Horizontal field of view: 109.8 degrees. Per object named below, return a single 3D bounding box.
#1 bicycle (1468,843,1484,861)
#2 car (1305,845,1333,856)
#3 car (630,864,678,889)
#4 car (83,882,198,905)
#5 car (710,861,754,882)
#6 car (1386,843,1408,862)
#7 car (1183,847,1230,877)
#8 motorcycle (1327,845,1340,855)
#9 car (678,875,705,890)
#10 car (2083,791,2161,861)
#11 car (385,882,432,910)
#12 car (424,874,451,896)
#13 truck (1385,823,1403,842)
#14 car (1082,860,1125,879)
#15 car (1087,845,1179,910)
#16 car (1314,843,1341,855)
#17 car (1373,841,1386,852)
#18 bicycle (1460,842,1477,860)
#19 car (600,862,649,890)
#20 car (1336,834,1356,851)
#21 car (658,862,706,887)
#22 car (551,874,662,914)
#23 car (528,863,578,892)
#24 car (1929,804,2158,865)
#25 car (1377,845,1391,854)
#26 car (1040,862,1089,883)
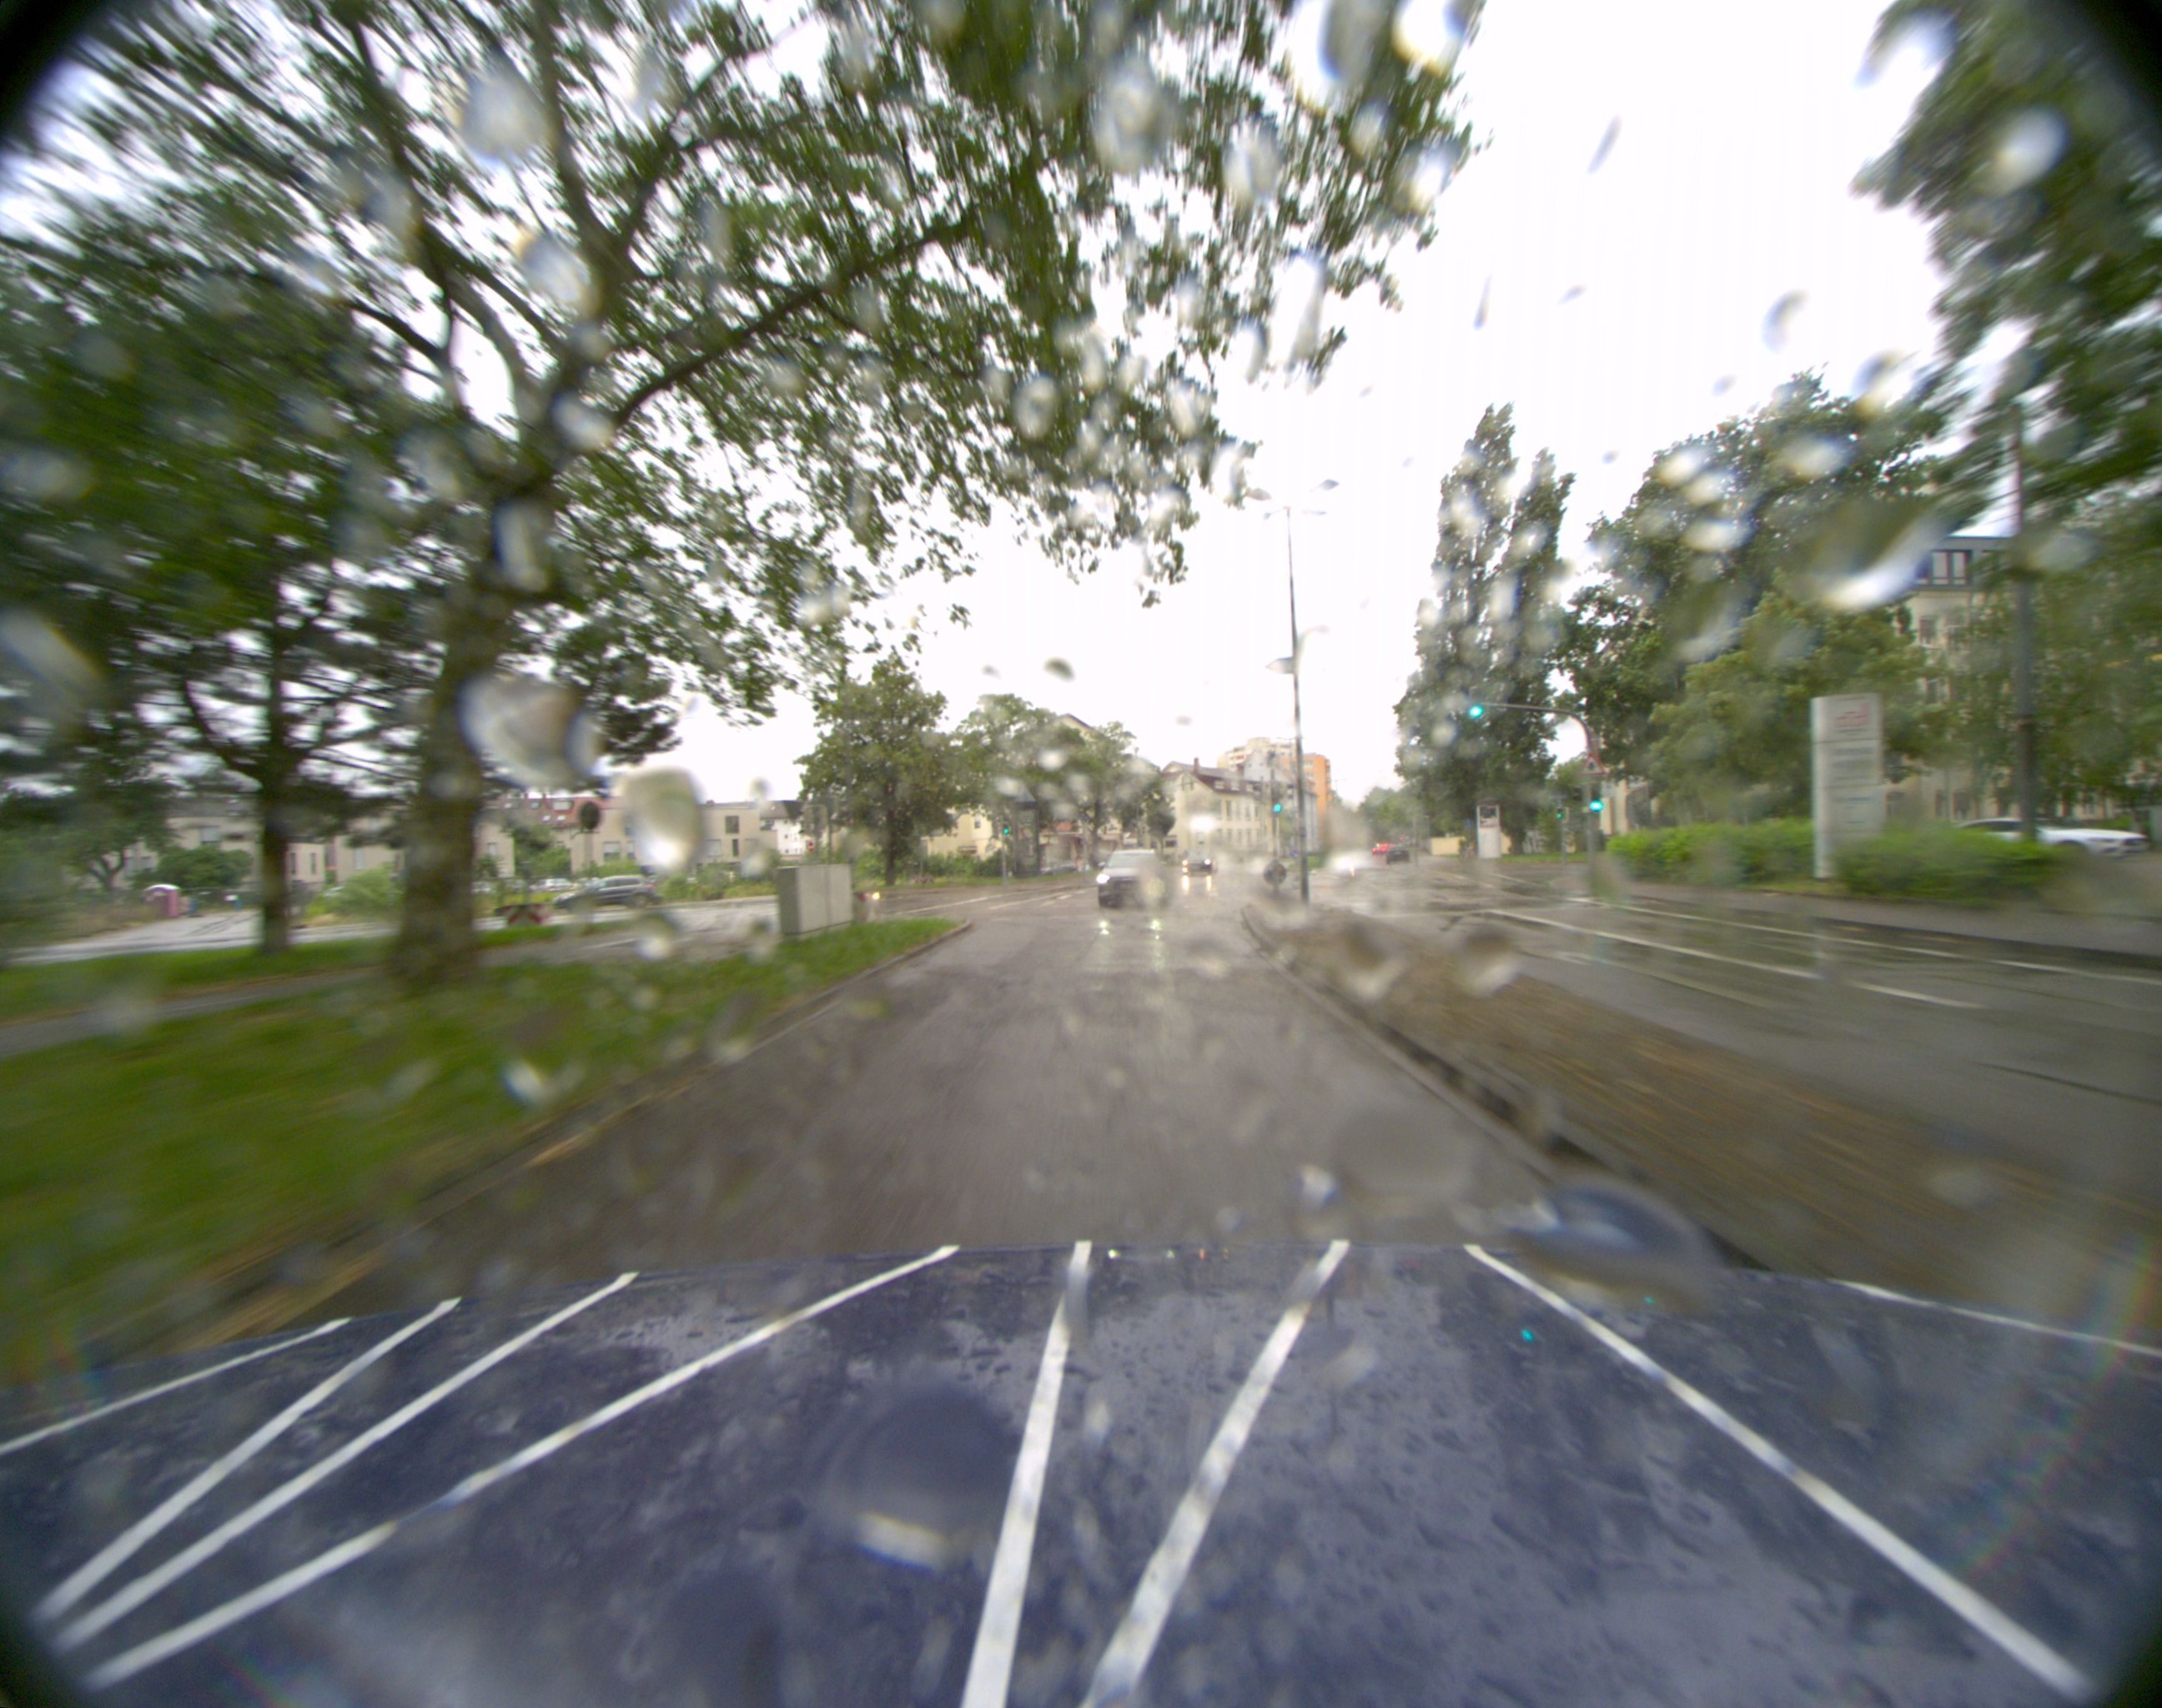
[{"bbox_3d":[25.028,-0.141,48.169,0.556,1.070,1.798,-3,0,18],"label":"bicycle"},{"bbox_3d":[35.278,-0.550,112.755,3.755,1.446,1.804,-3,-1,24],"label":"car"},{"bbox_3d":[-35.506,1.852,63.210,3.989,1.849,2.004,-3,0,38],"label":"car"},{"bbox_3d":[-62.589,2.601,50.681,4.407,1.129,1.765,-3,0,-33],"label":"car"},{"bbox_3d":[-31.713,1.573,69.005,3.989,1.674,1.912,-3,0,38],"label":"car"},{"bbox_3d":[26.421,-0.176,63.663,1.546,1.389,4.200,-4,0,22],"label":"car"},{"bbox_3d":[7.814,0.448,47.013,1.829,1.619,4.006,-3,0,25],"label":"car"},{"bbox_3d":[38.946,-0.638,117.024,1.764,1.365,0.736,-3,1,25],"label":"motorcycle"},{"bbox_3d":[-39.895,2.929,77.756,1.770,1.335,4.082,-4,0,-36],"label":"car"},{"bbox_3d":[51.805,-1.442,35.806,6.215,3.175,2.836,-3,0,-8],"label":"car"},{"bbox_3d":[-53.652,3.364,60.582,3.989,2.002,2.004,-3,0,38],"label":"car"},{"bbox_3d":[-61.573,2.974,72.684,1.675,1.902,3.990,-4,0,-43],"label":"car"},{"bbox_3d":[80.334,-5.527,194.858,3.827,4.359,10.801,-3,0,24],"label":"truck"},{"bbox_3d":[2.019,1.352,66.808,1.635,1.425,4.184,-3,0,37],"label":"car"},{"bbox_3d":[1.710,0.657,23.272,1.959,1.701,4.178,-3,0,15],"label":"car"},{"bbox_3d":[39.491,-0.799,121.663,3.917,1.605,1.694,-3,0,25],"label":"car"},{"bbox_3d":[47.780,-1.195,121.562,1.807,1.501,4.200,-4,0,22],"label":"car"},{"bbox_3d":[26.203,-0.204,51.373,0.698,1.179,1.626,-3,0,18],"label":"bicycle"},{"bbox_3d":[-36.760,1.757,61.170,3.989,2.002,2.004,-3,0,38],"label":"car"},{"bbox_3d":[37.814,-1.640,108.403,2.190,2.242,4.892,-3,0,24],"label":"car"},{"bbox_3d":[-34.092,1.756,64.900,3.989,1.849,2.004,-3,0,38],"label":"car"},{"bbox_3d":[-23.833,1.991,38.248,1.855,1.645,4.313,-3,0,43],"label":"car"},{"bbox_3d":[-41.158,1.849,59.199,3.989,2.002,2.004,-3,0,38],"label":"car"},{"bbox_3d":[29.599,-0.547,23.578,1.783,1.676,4.020,-2,0,-12],"label":"car"},{"bbox_3d":[52.818,-0.793,132.411,1.996,1.412,4.006,-3,0,23],"label":"car"},{"bbox_3d":[-1.319,1.493,62.686,1.699,1.425,4.164,-3,0,37],"label":"car"}]
